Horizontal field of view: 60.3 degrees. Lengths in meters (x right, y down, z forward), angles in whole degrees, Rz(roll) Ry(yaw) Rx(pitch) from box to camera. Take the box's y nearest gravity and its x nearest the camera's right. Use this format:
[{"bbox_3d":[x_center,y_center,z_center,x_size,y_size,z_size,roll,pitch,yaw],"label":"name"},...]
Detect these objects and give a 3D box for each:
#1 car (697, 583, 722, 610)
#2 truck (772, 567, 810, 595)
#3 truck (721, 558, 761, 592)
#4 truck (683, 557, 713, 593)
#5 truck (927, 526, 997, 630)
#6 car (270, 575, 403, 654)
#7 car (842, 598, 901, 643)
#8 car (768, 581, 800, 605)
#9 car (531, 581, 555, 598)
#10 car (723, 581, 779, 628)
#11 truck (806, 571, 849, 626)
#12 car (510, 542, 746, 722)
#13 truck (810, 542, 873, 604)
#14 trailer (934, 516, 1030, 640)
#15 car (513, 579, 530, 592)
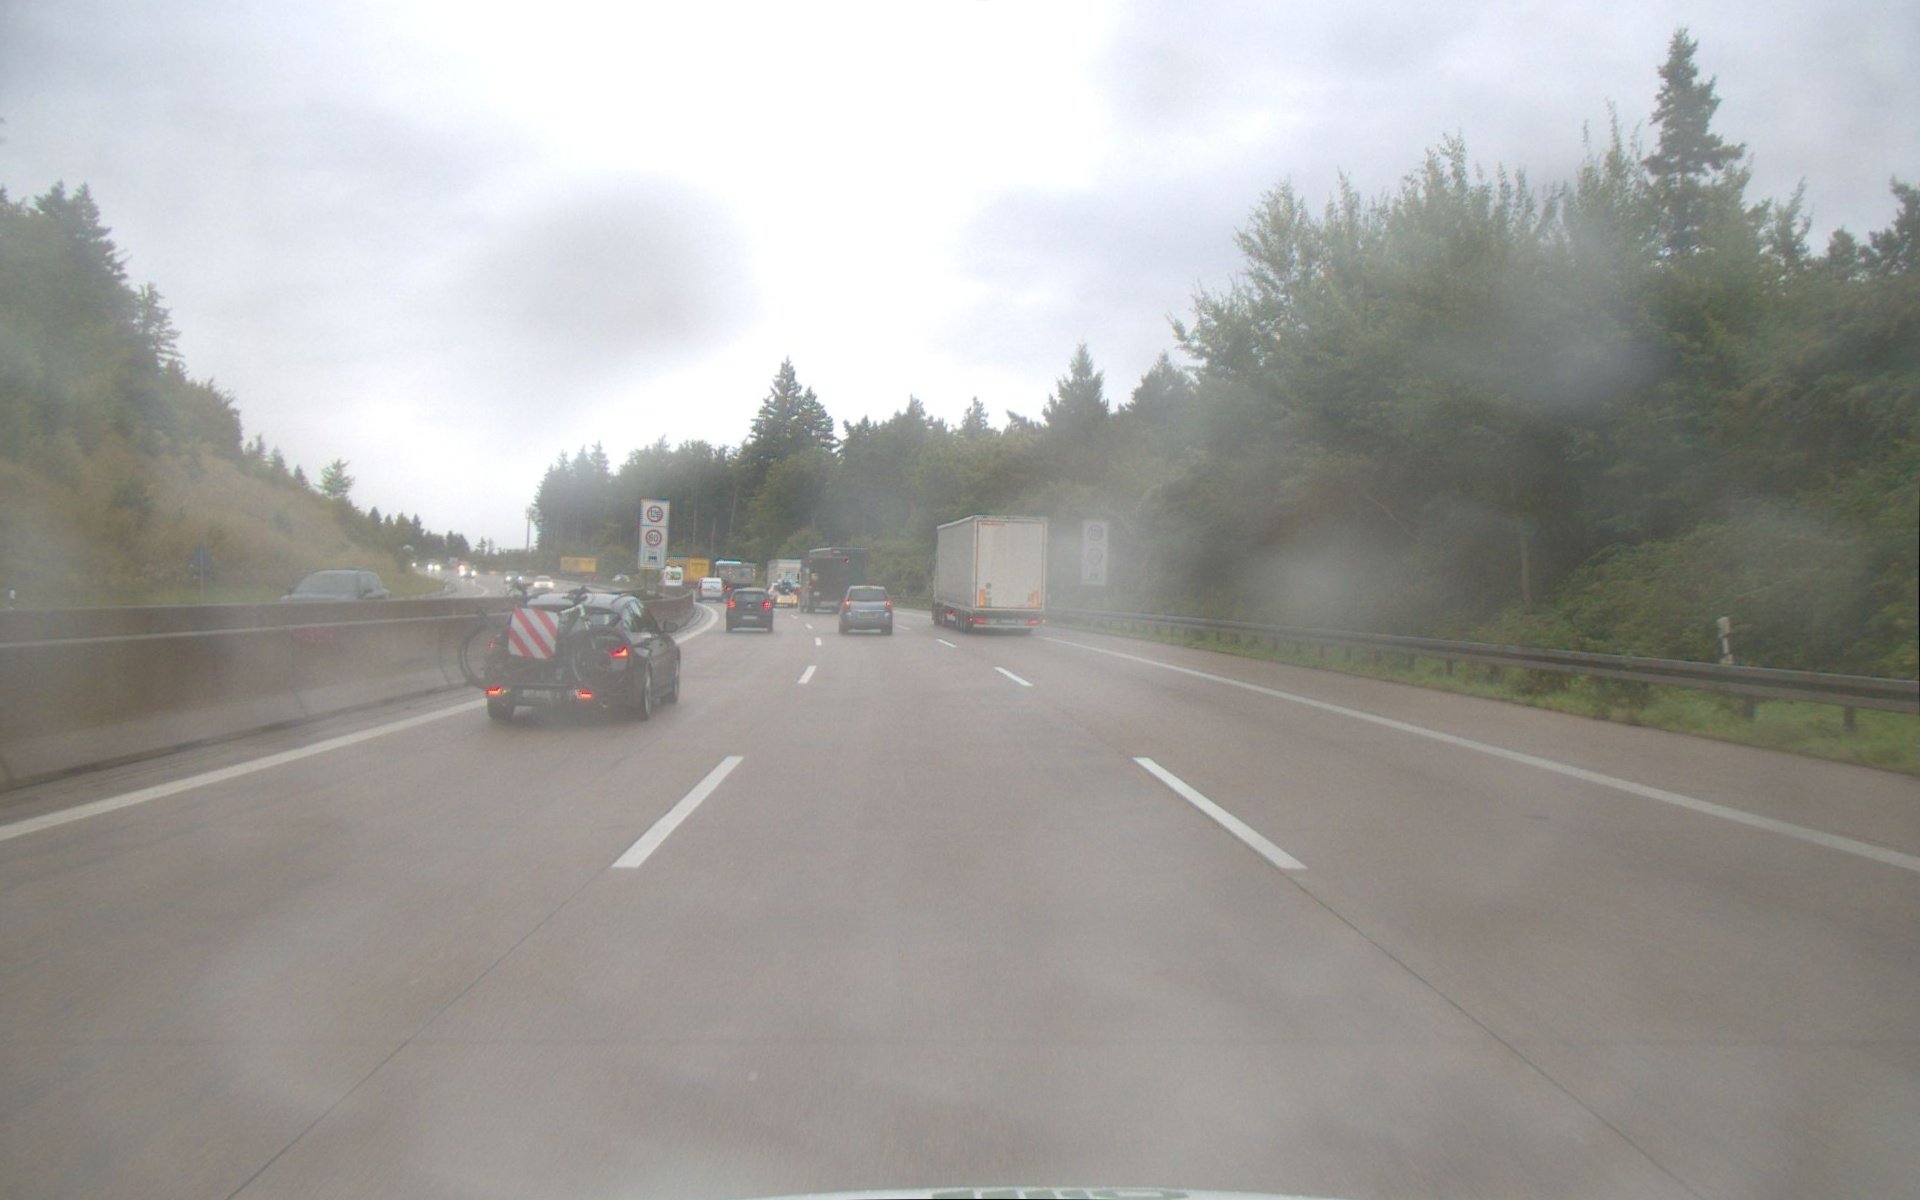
[{"bbox_3d":[-19.131,-0.258,126.437,1.692,2.049,3.652,0,0,-6],"label":"car"},{"bbox_3d":[-15.378,-1.769,150.291,2.920,2.349,6.653,3,0,-9],"label":"truck"},{"bbox_3d":[-19.666,-2.271,148.488,3.028,2.956,7.882,1,1,-11],"label":"truck"},{"bbox_3d":[-32.686,-3.065,206.421,3.671,4.283,6.802,0,0,-10],"label":"truck"},{"bbox_3d":[0.032,-0.927,68.940,2.373,4.139,4.972,1,1,-6],"label":"truck"},{"bbox_3d":[-15.140,0.319,40.424,1.696,1.807,4.755,0,0,-3],"label":"car"},{"bbox_3d":[-2.948,0.661,55.803,1.521,1.375,3.685,2,1,4],"label":"car"},{"bbox_3d":[-11.706,-0.508,110.232,1.844,1.498,3.997,2,1,-4],"label":"car"},{"bbox_3d":[-38.864,-1.014,154.209,1.744,1.544,3.992,0,0,-9],"label":"car"},{"bbox_3d":[-7.118,0.125,56.618,1.651,1.487,3.680,2,1,-4],"label":"car"},{"bbox_3d":[-7.635,-0.165,94.849,2.226,2.937,7.894,1,1,-6],"label":"truck"},{"bbox_3d":[-4.050,0.327,21.278,1.869,1.979,6.162,0,0,-1],"label":"car"},{"bbox_3d":[-8.552,-1.921,118.151,3.309,4.203,10.410,1,1,-11],"label":"truck"},{"bbox_3d":[0.664,-0.825,62.051,2.372,4.139,12.042,1,1,-5],"label":"trailer"},{"bbox_3d":[-54.008,-1.797,203.847,1.745,1.667,3.988,0,0,-12],"label":"car"}]
